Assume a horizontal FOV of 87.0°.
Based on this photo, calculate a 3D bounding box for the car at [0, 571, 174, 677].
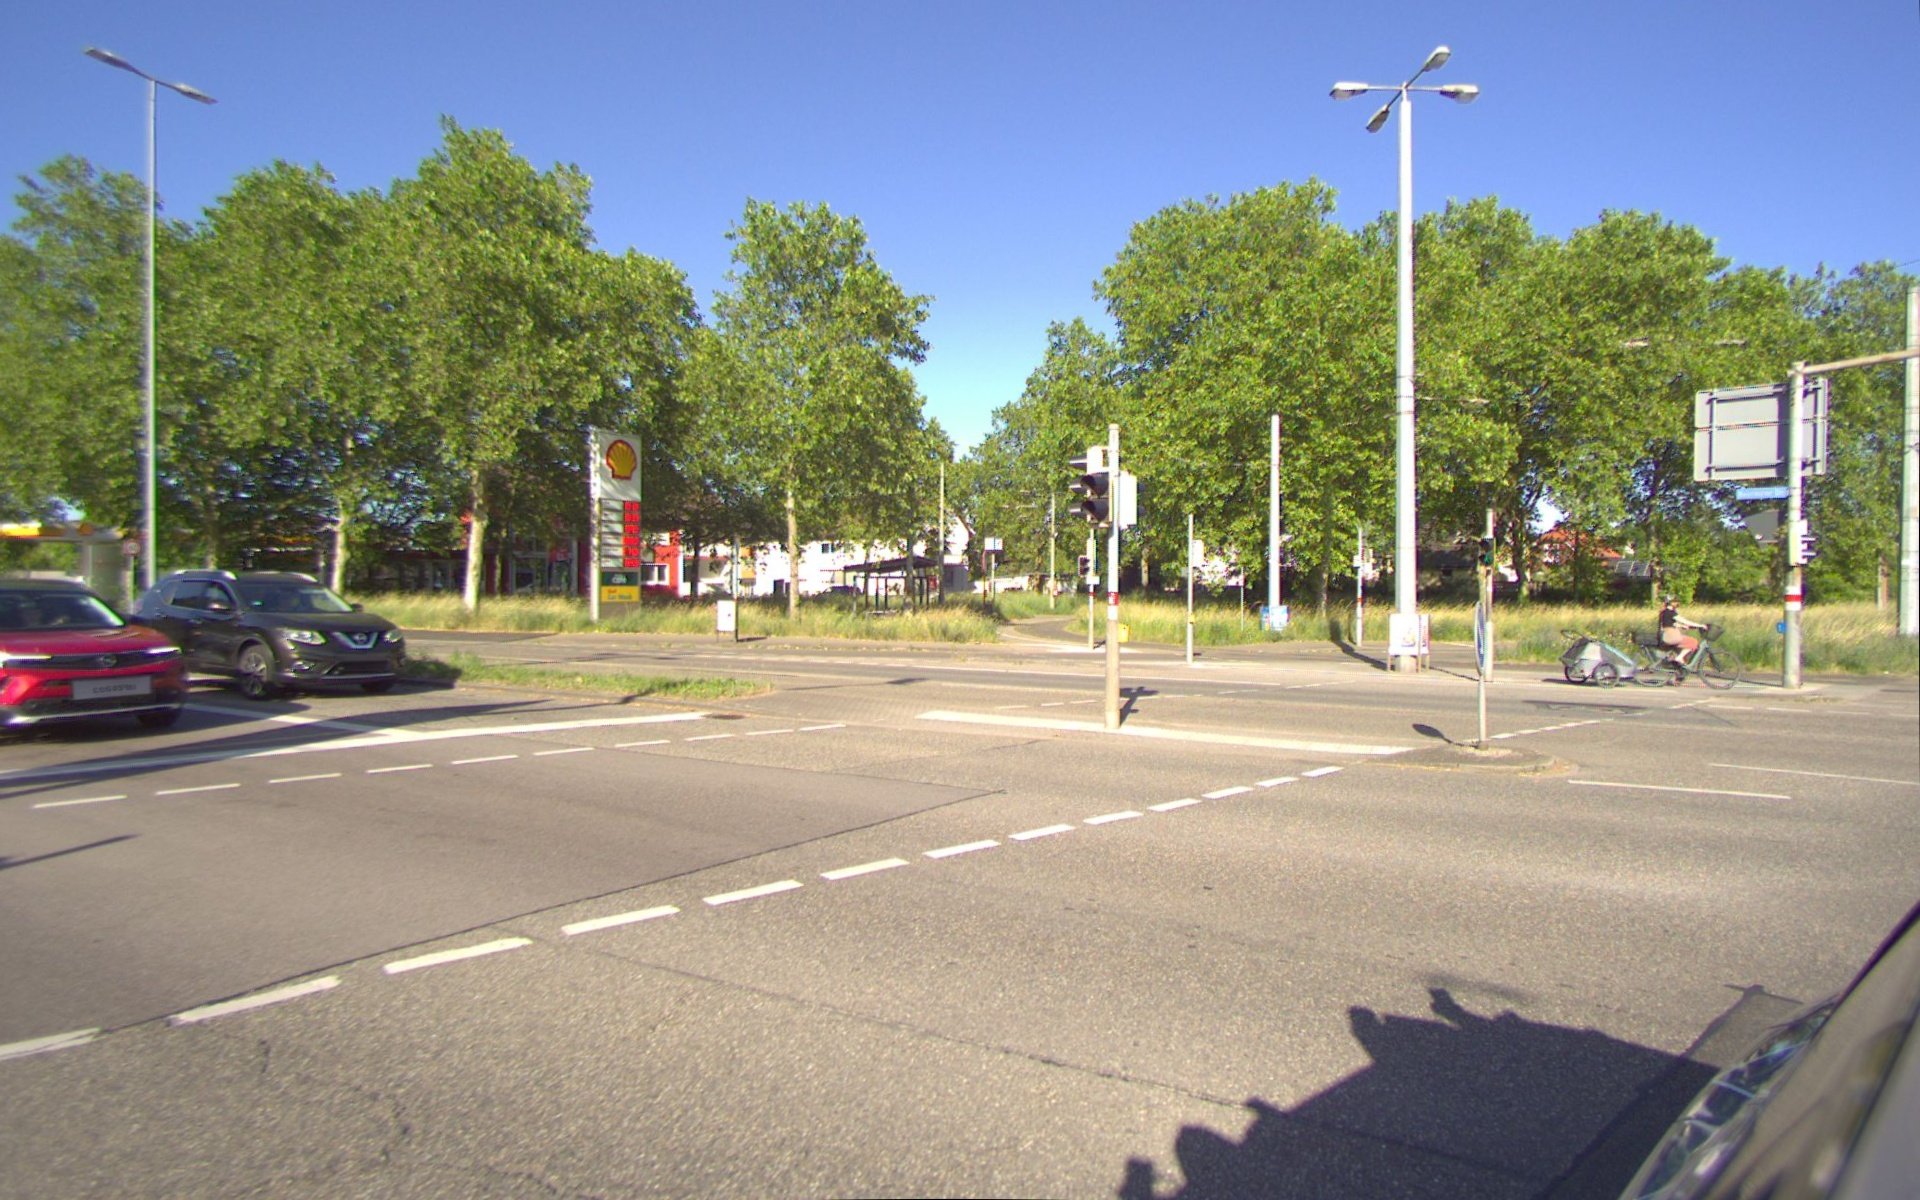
[{"bbox_3d":[-15.737,0.336,17.388,3.958,1.638,1.983,1,0,25],"label":"car"}]

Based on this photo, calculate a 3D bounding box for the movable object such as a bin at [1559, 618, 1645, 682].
[{"bbox_3d":[11.854,0.903,18.701,1.308,1.082,0.900,1,1,35],"label":"movable object such as a bin"}]

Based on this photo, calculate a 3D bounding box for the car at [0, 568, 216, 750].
[{"bbox_3d":[-9.924,0.484,10.699,4.053,1.620,1.798,1,1,29],"label":"car"}]

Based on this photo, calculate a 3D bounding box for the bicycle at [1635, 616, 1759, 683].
[{"bbox_3d":[13.480,0.884,18.542,1.810,1.133,0.462,1,0,38],"label":"bicycle"}]

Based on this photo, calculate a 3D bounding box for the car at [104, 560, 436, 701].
[{"bbox_3d":[-9.748,0.333,14.274,4.447,1.732,1.905,1,1,25],"label":"car"}]

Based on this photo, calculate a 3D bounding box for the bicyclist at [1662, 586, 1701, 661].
[{"bbox_3d":[13.317,0.418,18.688,0.562,1.357,0.504,1,0,36],"label":"bicyclist"}]
